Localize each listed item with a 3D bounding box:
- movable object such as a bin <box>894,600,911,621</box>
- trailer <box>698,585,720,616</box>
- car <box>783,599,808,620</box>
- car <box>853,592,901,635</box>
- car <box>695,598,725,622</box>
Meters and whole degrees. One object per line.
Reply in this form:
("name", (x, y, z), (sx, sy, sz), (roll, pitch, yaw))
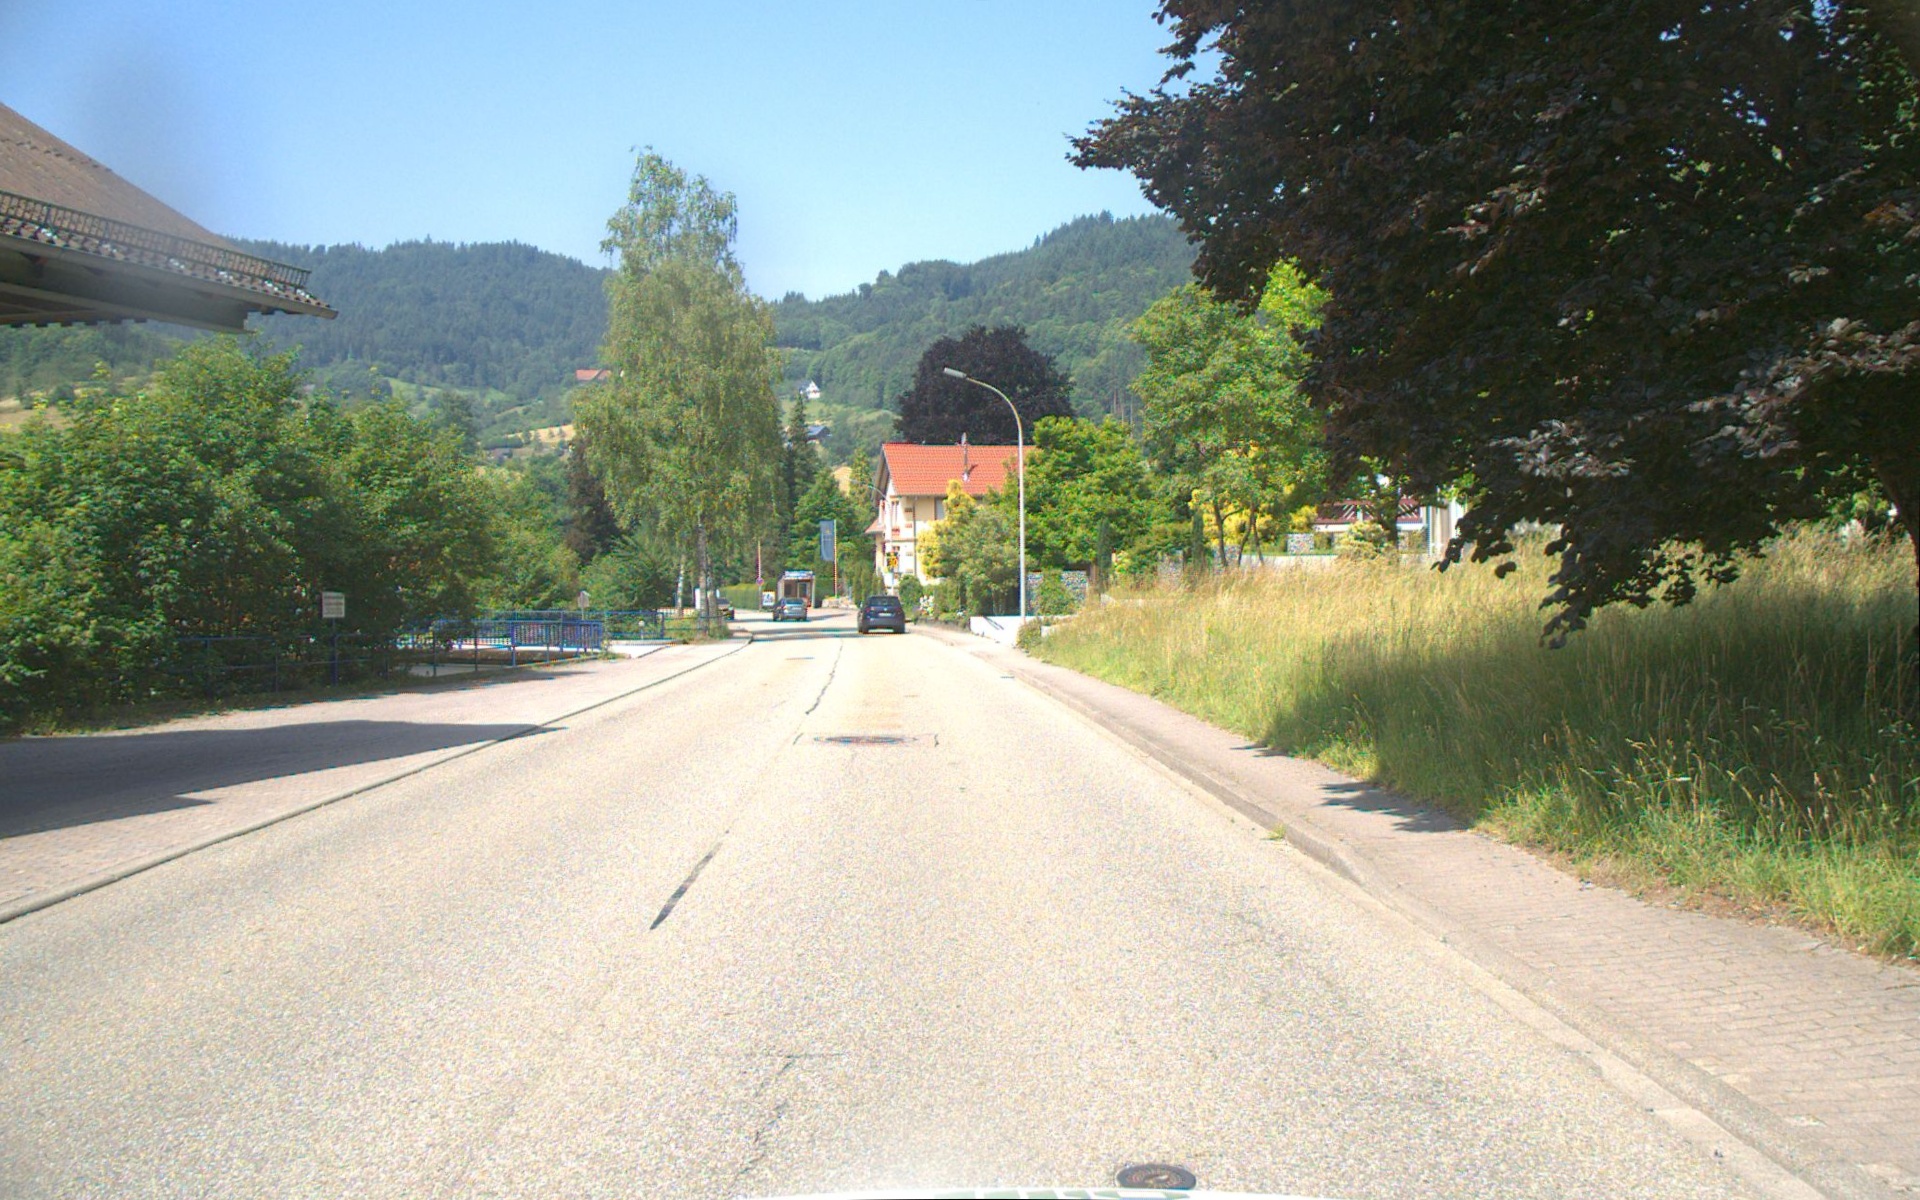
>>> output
("movable object such as a bin", (-3.065, 0.539, 87.513), (0.795, 1.060, 0.577), (-2, 1, -12))
("trailer", (-17.677, 0.061, 116.539), (1.440, 2.114, 3.662), (-2, 0, -10))
("car", (-10.338, 0.606, 104.019), (1.448, 1.230, 2.382), (-2, 0, -4))
("car", (-3.638, 0.569, 72.013), (1.882, 1.728, 3.783), (-2, 0, -6))
("car", (-16.977, 0.667, 112.394), (1.781, 1.527, 4.137), (-2, 0, -11))
